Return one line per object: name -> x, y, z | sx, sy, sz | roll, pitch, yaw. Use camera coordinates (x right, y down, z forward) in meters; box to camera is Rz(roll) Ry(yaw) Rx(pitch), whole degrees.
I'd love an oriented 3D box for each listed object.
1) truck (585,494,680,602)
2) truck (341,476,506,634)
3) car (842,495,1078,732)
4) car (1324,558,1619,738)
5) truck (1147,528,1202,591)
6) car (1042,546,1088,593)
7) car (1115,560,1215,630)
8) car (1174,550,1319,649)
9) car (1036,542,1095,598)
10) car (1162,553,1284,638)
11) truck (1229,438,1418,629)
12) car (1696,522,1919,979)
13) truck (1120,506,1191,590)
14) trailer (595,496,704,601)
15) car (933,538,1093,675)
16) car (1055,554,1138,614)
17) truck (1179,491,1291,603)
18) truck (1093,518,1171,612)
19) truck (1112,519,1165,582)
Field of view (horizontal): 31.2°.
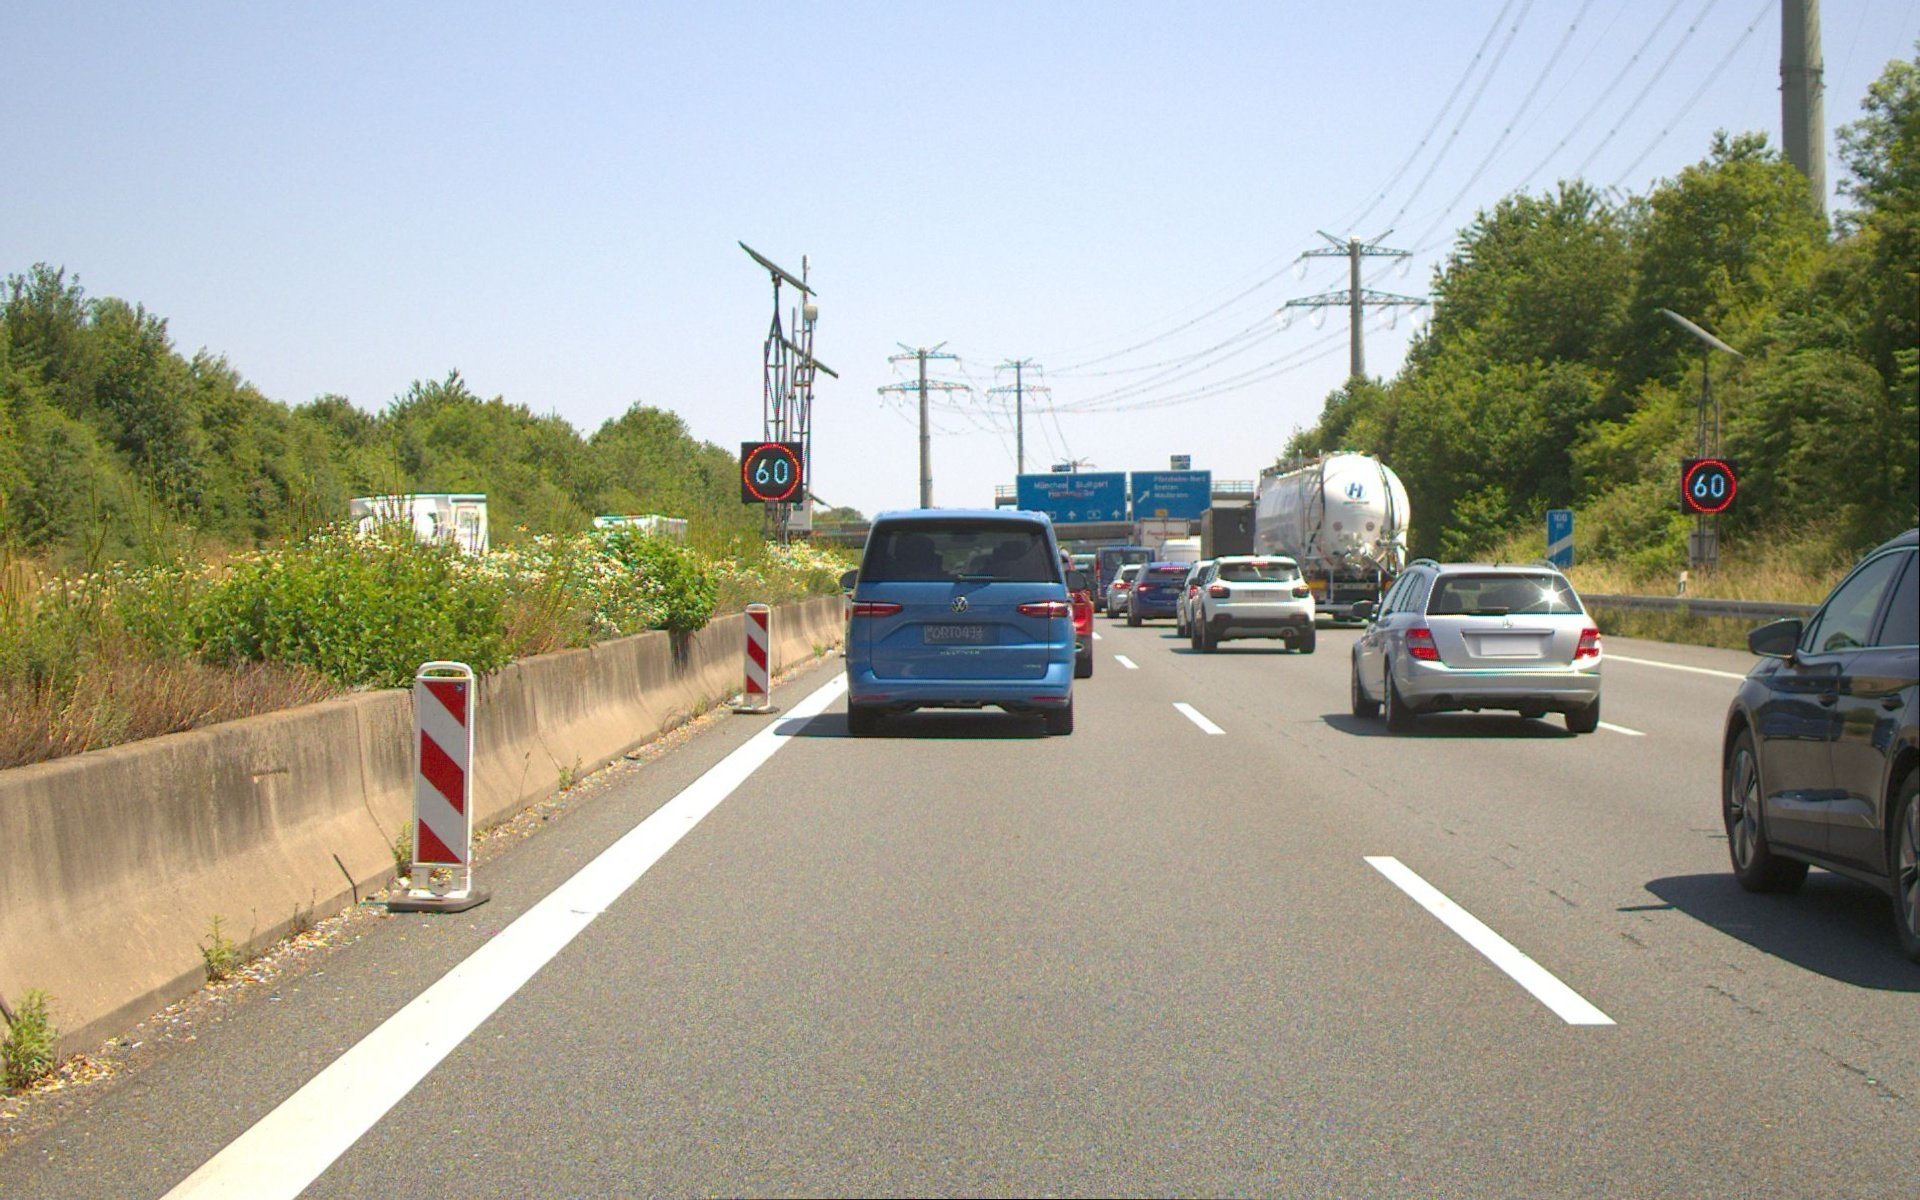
truck -> -13.338, -2.116, 140.355 | 3.016, 4.152, 5.805 | -3, 1, 1
truck -> -14.264, -1.208, 92.121 | 2.762, 3.875, 9.030 | -3, 1, 0
car -> -0.054, 0.082, 29.871 | 1.871, 1.873, 4.384 | 1, 1, -1
car -> 4.375, 0.362, 30.021 | 1.821, 1.432, 4.384 | 1, 1, -1
truck -> 9.491, -1.796, 152.241 | 1.993, 2.714, 5.680 | 1, 1, 0
car -> 4.637, -1.357, 152.323 | 1.993, 2.007, 4.000 | 1, 1, 1
car -> 4.627, -0.133, 78.137 | 1.908, 1.511, 4.384 | 1, 1, -1
car -> 4.577, -0.036, 55.340 | 1.908, 1.503, 3.922 | 1, 1, -1
car -> 3.889, -1.105, 126.903 | 1.993, 2.007, 4.000 | 1, 1, 0
car -> 5.063, -0.117, 66.697 | 1.908, 1.564, 4.384 | 1, 1, -1
truck -> 8.455, -1.536, 82.142 | 2.644, 4.058, 16.441 | 1, 1, 0
car -> 4.299, 0.513, 13.539 | 1.828, 1.609, 4.431 | 0, 1, 0
truck -> 10.394, -2.772, 183.557 | 2.938, 4.276, 12.552 | 1, 1, 0
trailer -> -13.267, -2.208, 148.046 | 3.016, 4.152, 14.020 | -3, 1, 1
car -> 0.619, 0.053, 43.339 | 1.908, 1.625, 4.384 | 0, 1, 0
car -> 3.585, -0.439, 90.980 | 1.908, 1.511, 4.384 | 1, 1, -1
truck -> 9.193, -1.757, 116.095 | 2.644, 3.526, 12.552 | 1, 1, 0
truck -> 5.148, -1.065, 103.323 | 1.993, 2.714, 5.680 | 1, 1, 0
truck -> 12.551, -3.494, 242.974 | 2.938, 4.276, 12.552 | 1, 1, 0
